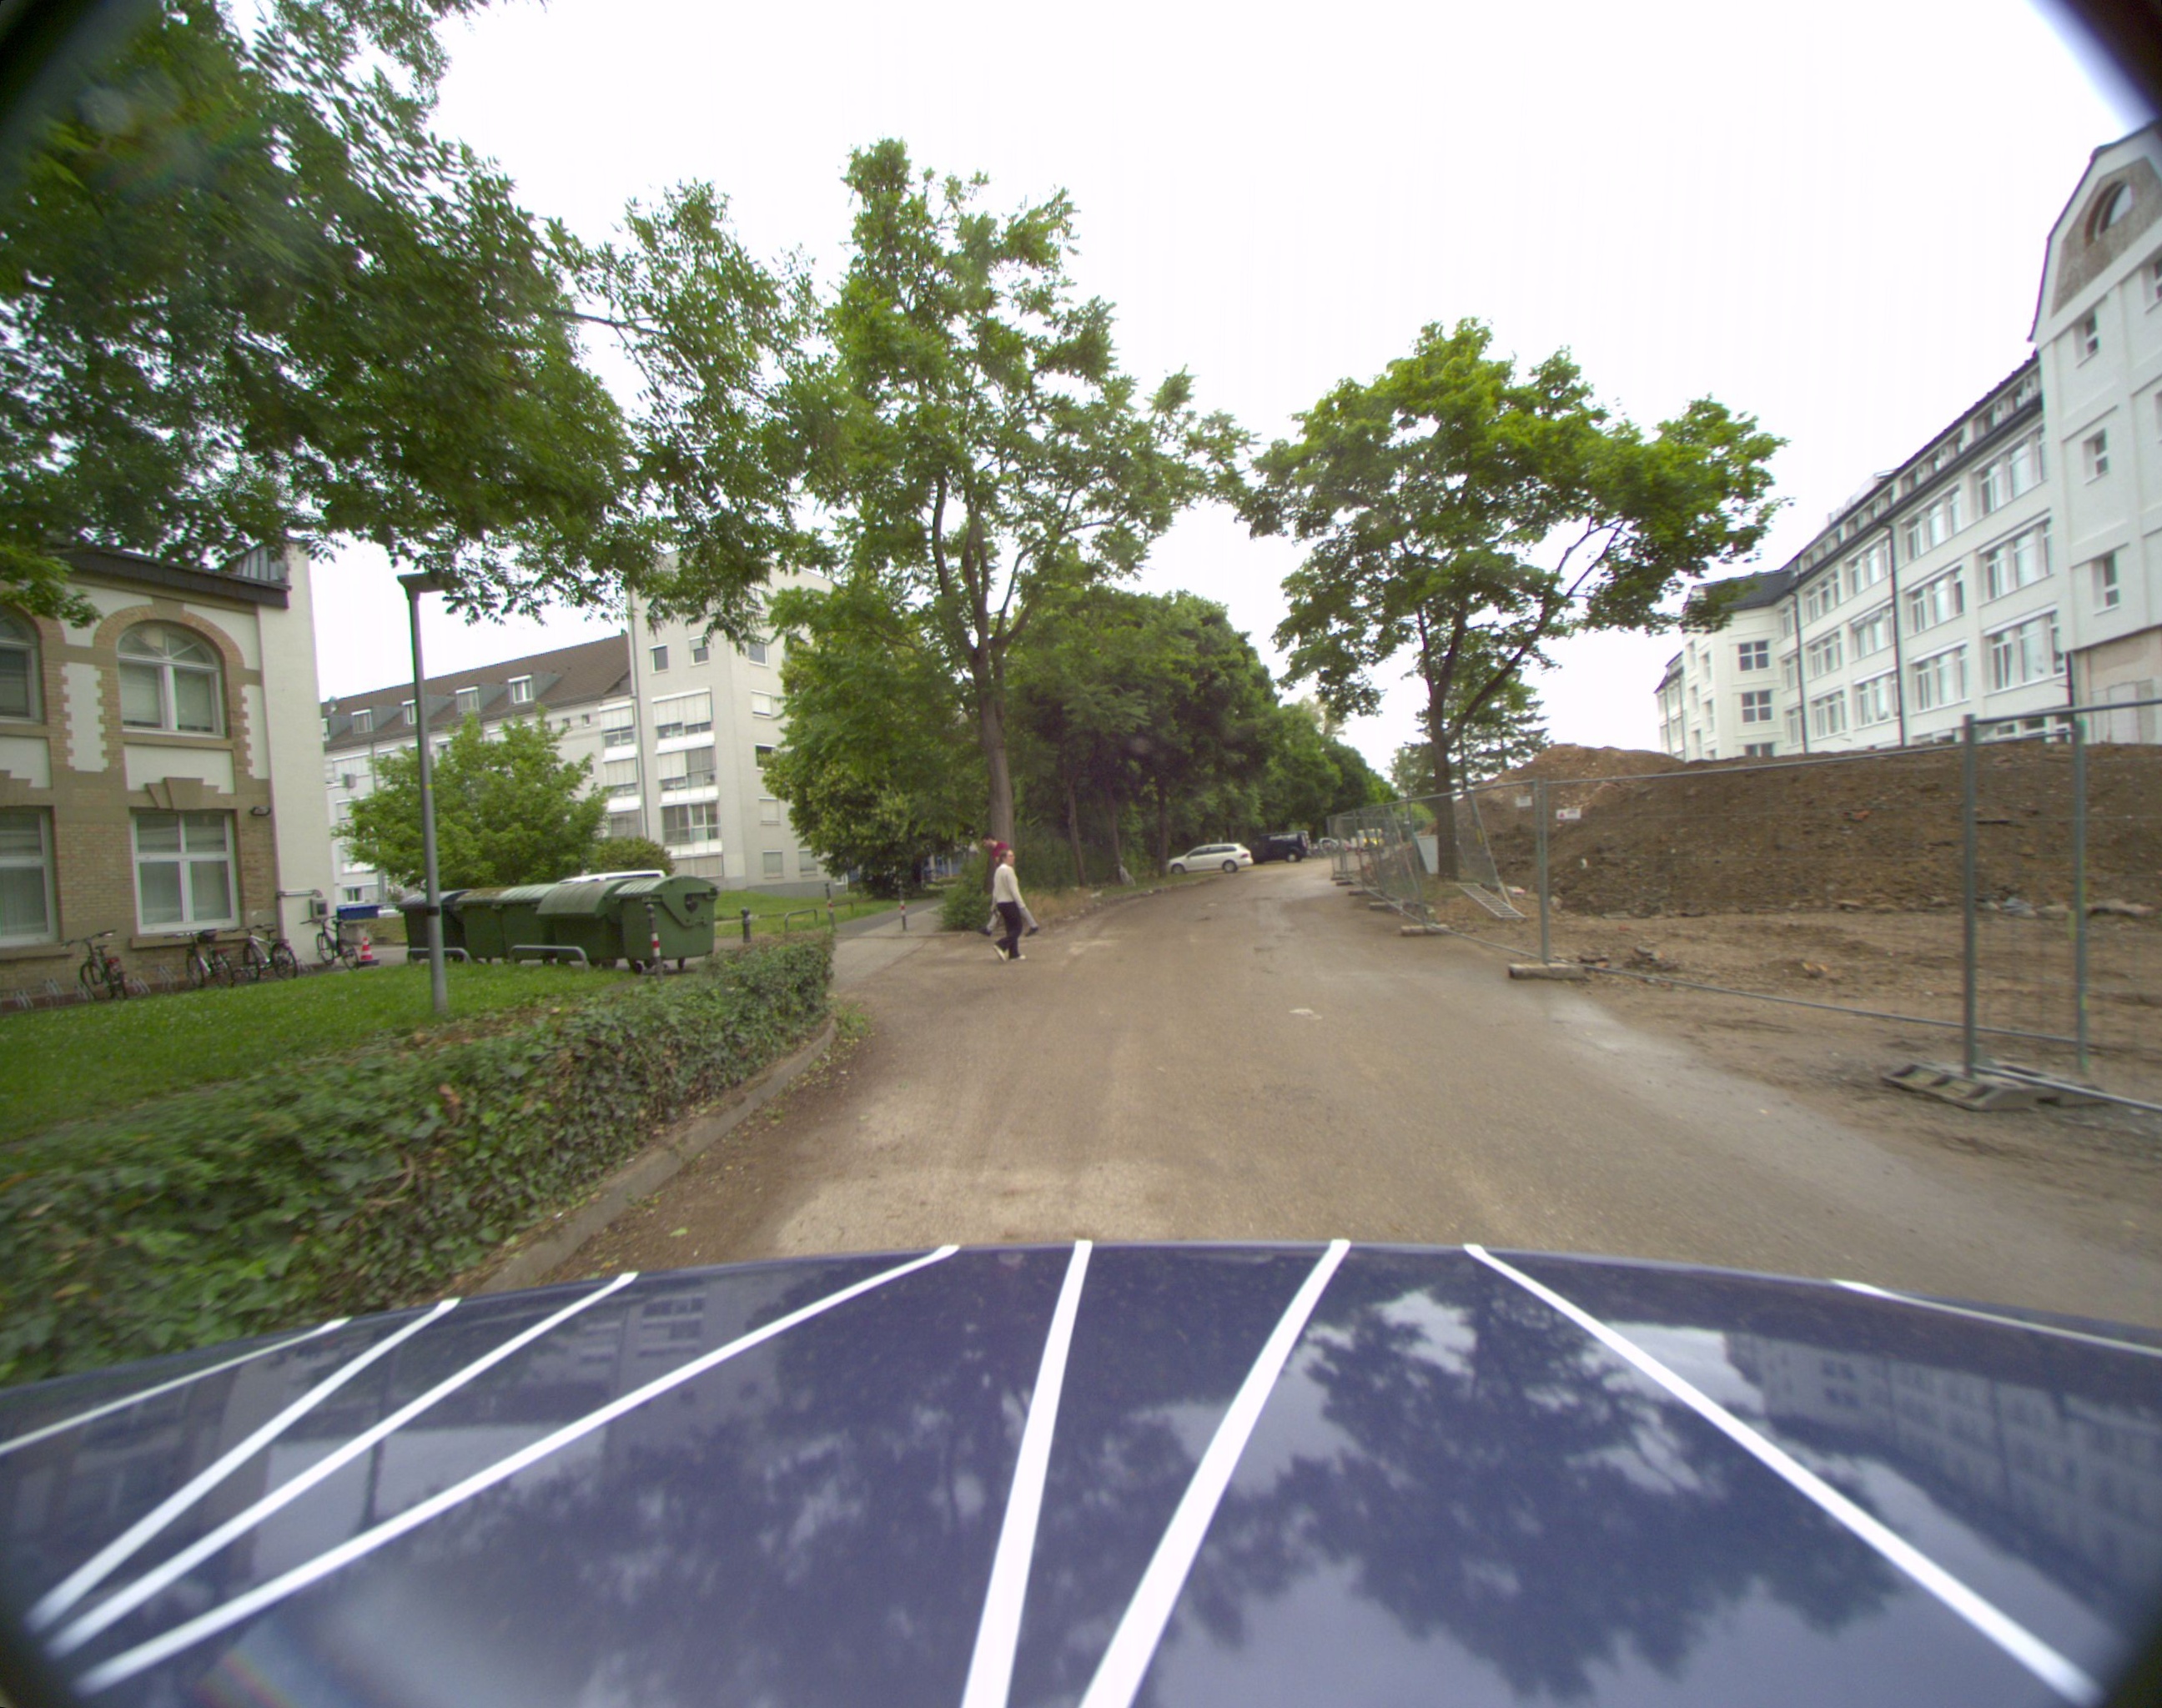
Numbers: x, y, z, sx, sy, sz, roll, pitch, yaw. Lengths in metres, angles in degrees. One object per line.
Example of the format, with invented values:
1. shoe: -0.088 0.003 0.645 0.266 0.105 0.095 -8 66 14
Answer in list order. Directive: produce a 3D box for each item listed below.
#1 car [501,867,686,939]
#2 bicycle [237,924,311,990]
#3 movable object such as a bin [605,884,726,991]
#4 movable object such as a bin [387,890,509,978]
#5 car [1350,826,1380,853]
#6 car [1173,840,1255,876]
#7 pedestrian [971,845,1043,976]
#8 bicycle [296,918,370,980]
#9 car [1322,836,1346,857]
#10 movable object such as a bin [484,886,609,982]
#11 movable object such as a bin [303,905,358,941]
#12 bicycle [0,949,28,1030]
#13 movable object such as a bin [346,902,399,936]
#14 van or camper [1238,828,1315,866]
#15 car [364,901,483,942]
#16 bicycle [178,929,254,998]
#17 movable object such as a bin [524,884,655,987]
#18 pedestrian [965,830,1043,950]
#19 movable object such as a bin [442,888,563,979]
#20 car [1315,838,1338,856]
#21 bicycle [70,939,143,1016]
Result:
1. car: -16.249 1.574 25.621 1.897 1.862 4.781 -6 -1 28
2. bicycle: -14.944 1.887 14.053 1.740 1.108 0.461 -3 1 29
3. movable object such as a bin: -6.248 1.209 11.441 1.272 1.426 1.074 -3 1 36
4. movable object such as a bin: -11.596 1.450 13.946 1.360 1.442 1.110 -4 1 21
5. car: 22.871 -1.169 61.238 2.121 2.002 4.005 -3 0 20
6. car: 6.810 0.211 38.782 3.879 1.565 1.754 -3 1 15
7. pedestrian: -1.070 0.782 10.898 0.752 1.771 0.662 -4 1 -24
8. bicycle: -14.590 1.845 14.812 1.740 1.108 0.461 -3 1 28
9. car: 21.258 -0.669 63.856 1.818 1.587 4.004 -3 0 18
10. movable object such as a bin: -8.959 1.319 12.765 1.291 1.442 1.110 -4 1 24
11. movable object such as a bin: -30.730 2.819 31.134 1.225 1.299 1.182 -4 0 26
12. bicycle: -16.242 2.008 11.276 1.740 1.108 0.461 -3 1 29
13. movable object such as a bin: -30.164 2.774 32.352 1.225 1.299 1.182 -4 0 26
14. van or camper: 12.835 -0.441 49.961 4.490 2.245 2.003 -3 1 27
15. car: -35.336 3.611 40.993 1.996 1.724 4.347 -3 0 21
16. bicycle: -15.227 1.904 13.364 1.740 1.108 0.461 -3 1 29
17. movable object such as a bin: -7.699 1.259 11.934 1.283 1.442 1.110 -4 1 24
18. pedestrian: -1.358 0.620 13.656 0.793 2.052 1.202 -3 1 23
19. movable object such as a bin: -10.206 1.380 13.433 1.324 1.442 1.110 -4 1 24
20. car: 24.088 -0.668 74.580 1.996 1.587 4.005 -3 0 19
21. bicycle: -15.752 1.964 12.270 1.740 1.108 0.461 -3 1 31
